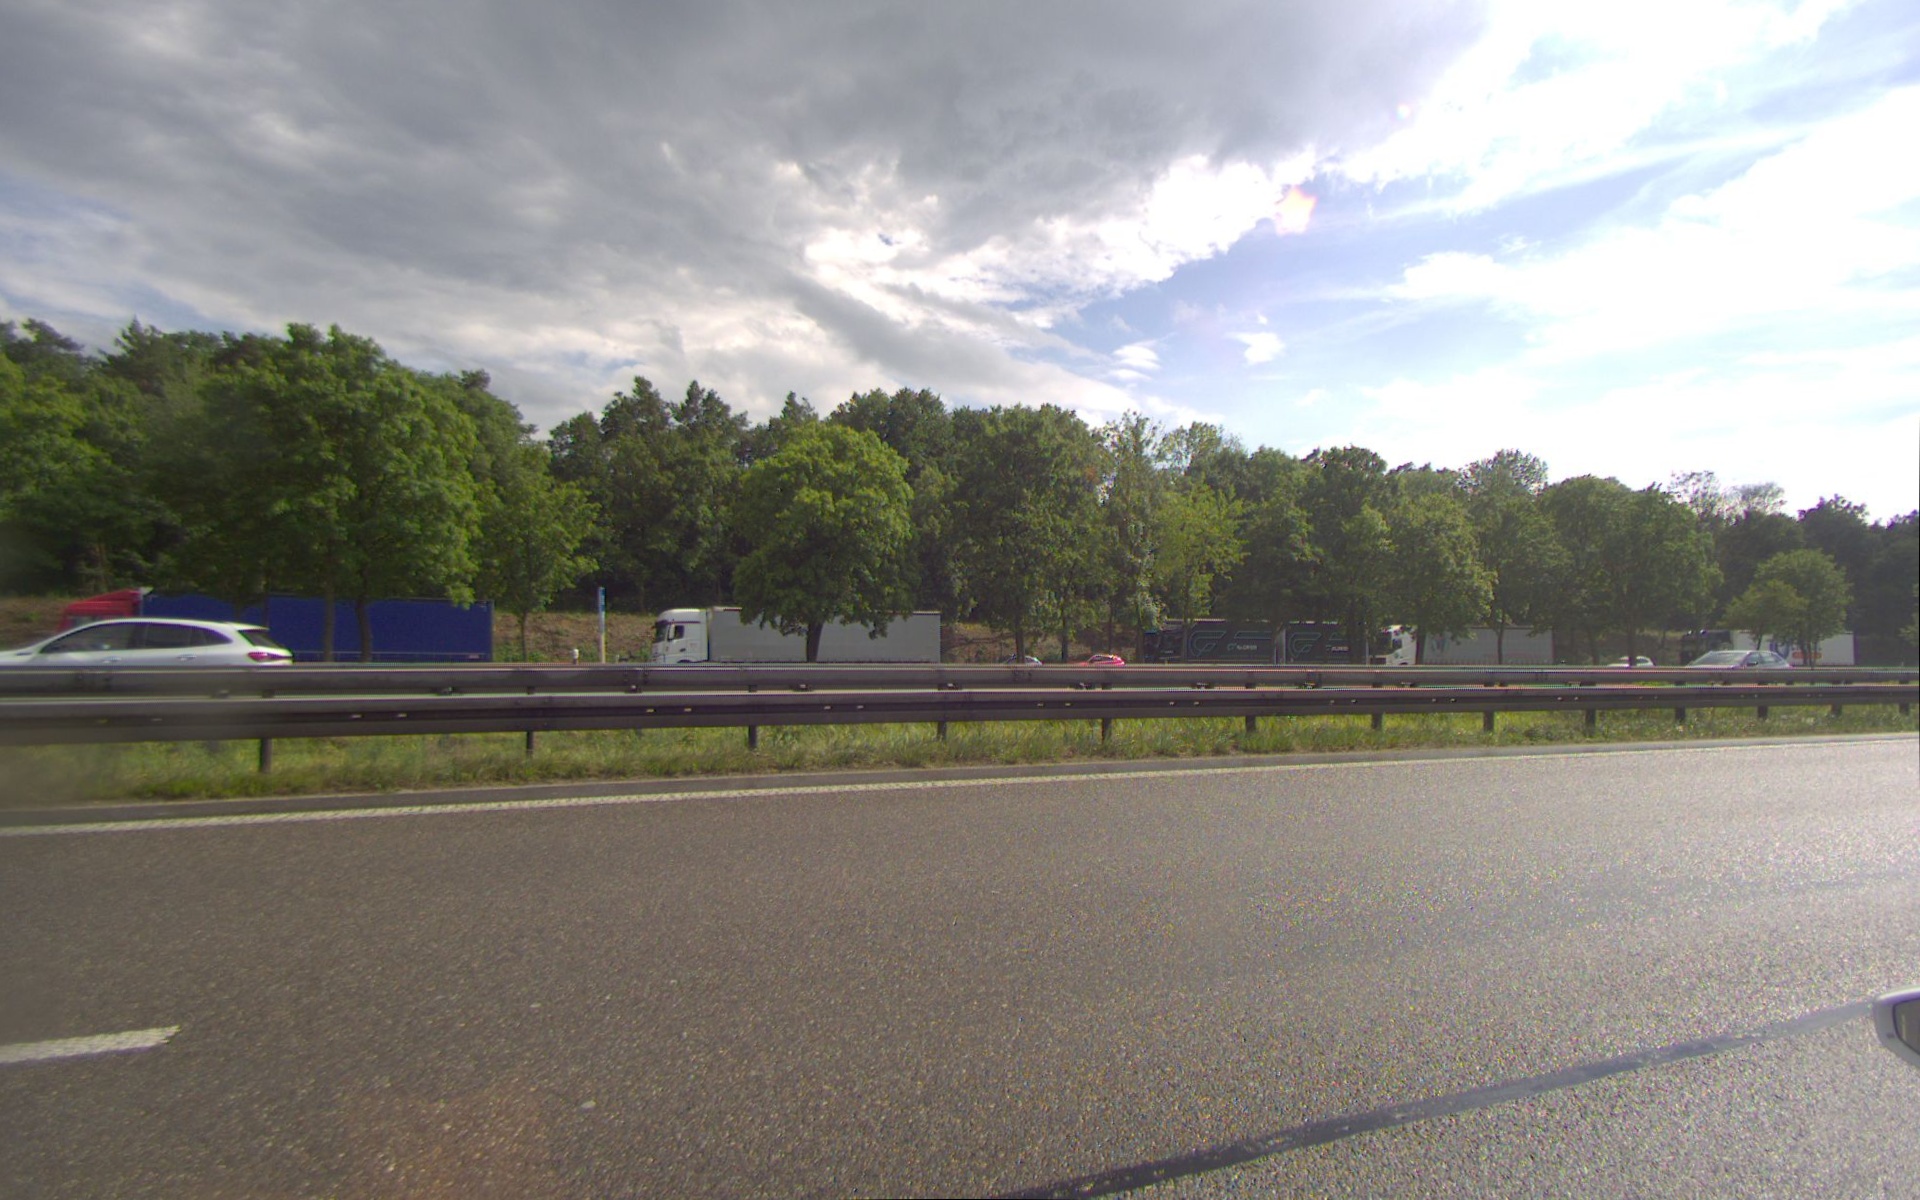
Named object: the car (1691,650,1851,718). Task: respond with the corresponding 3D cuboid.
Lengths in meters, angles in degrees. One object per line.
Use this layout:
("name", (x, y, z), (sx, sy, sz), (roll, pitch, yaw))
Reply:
("car", (25.298, 2.604, 31.326), (4.711, 1.916, 1.826), (2, -1, -23))

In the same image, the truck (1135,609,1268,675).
("truck", (16.870, 2.911, 70.113), (8.294, 4.290, 3.781), (2, -1, -22))

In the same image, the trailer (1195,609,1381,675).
("trailer", (23.895, 3.126, 72.959), (13.597, 4.463, 3.783), (2, -2, -21))

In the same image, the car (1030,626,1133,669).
("car", (7.955, 3.119, 65.990), (6.119, 2.515, 2.788), (2, -1, -22))

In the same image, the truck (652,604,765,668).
("truck", (-13.905, 1.979, 55.448), (5.435, 3.316, 3.341), (2, -1, -26))

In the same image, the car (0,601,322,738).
("car", (-12.912, 1.048, 15.626), (4.711, 1.916, 1.826), (2, -1, -23))

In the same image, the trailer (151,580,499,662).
("trailer", (-28.907, 1.119, 46.790), (13.266, 3.449, 2.810), (2, -2, -30))

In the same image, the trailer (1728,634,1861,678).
("trailer", (73.543, 4.930, 88.560), (10.322, 3.697, 3.790), (2, -2, -15))

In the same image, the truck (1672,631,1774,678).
("truck", (65.493, 4.665, 86.276), (6.597, 3.708, 3.787), (2, -1, -17))

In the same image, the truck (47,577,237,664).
("truck", (-35.019, 0.901, 43.332), (5.827, 3.502, 2.847), (2, -1, -30))

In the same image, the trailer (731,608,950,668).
("trailer", (-6.879, 2.278, 58.714), (12.303, 3.259, 3.339), (2, -2, -25))

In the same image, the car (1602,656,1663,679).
("car", (55.951, 5.634, 83.559), (4.301, 1.741, 2.056), (2, -1, -19))

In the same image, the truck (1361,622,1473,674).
("truck", (34.856, 3.652, 76.668), (7.247, 3.637, 3.781), (2, -1, -22))

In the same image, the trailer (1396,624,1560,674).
("trailer", (40.814, 3.875, 79.006), (13.148, 3.697, 3.783), (2, -2, -21))

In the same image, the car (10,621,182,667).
("car", (-42.125, 2.171, 49.210), (6.063, 2.040, 1.983), (2, -1, -31))
